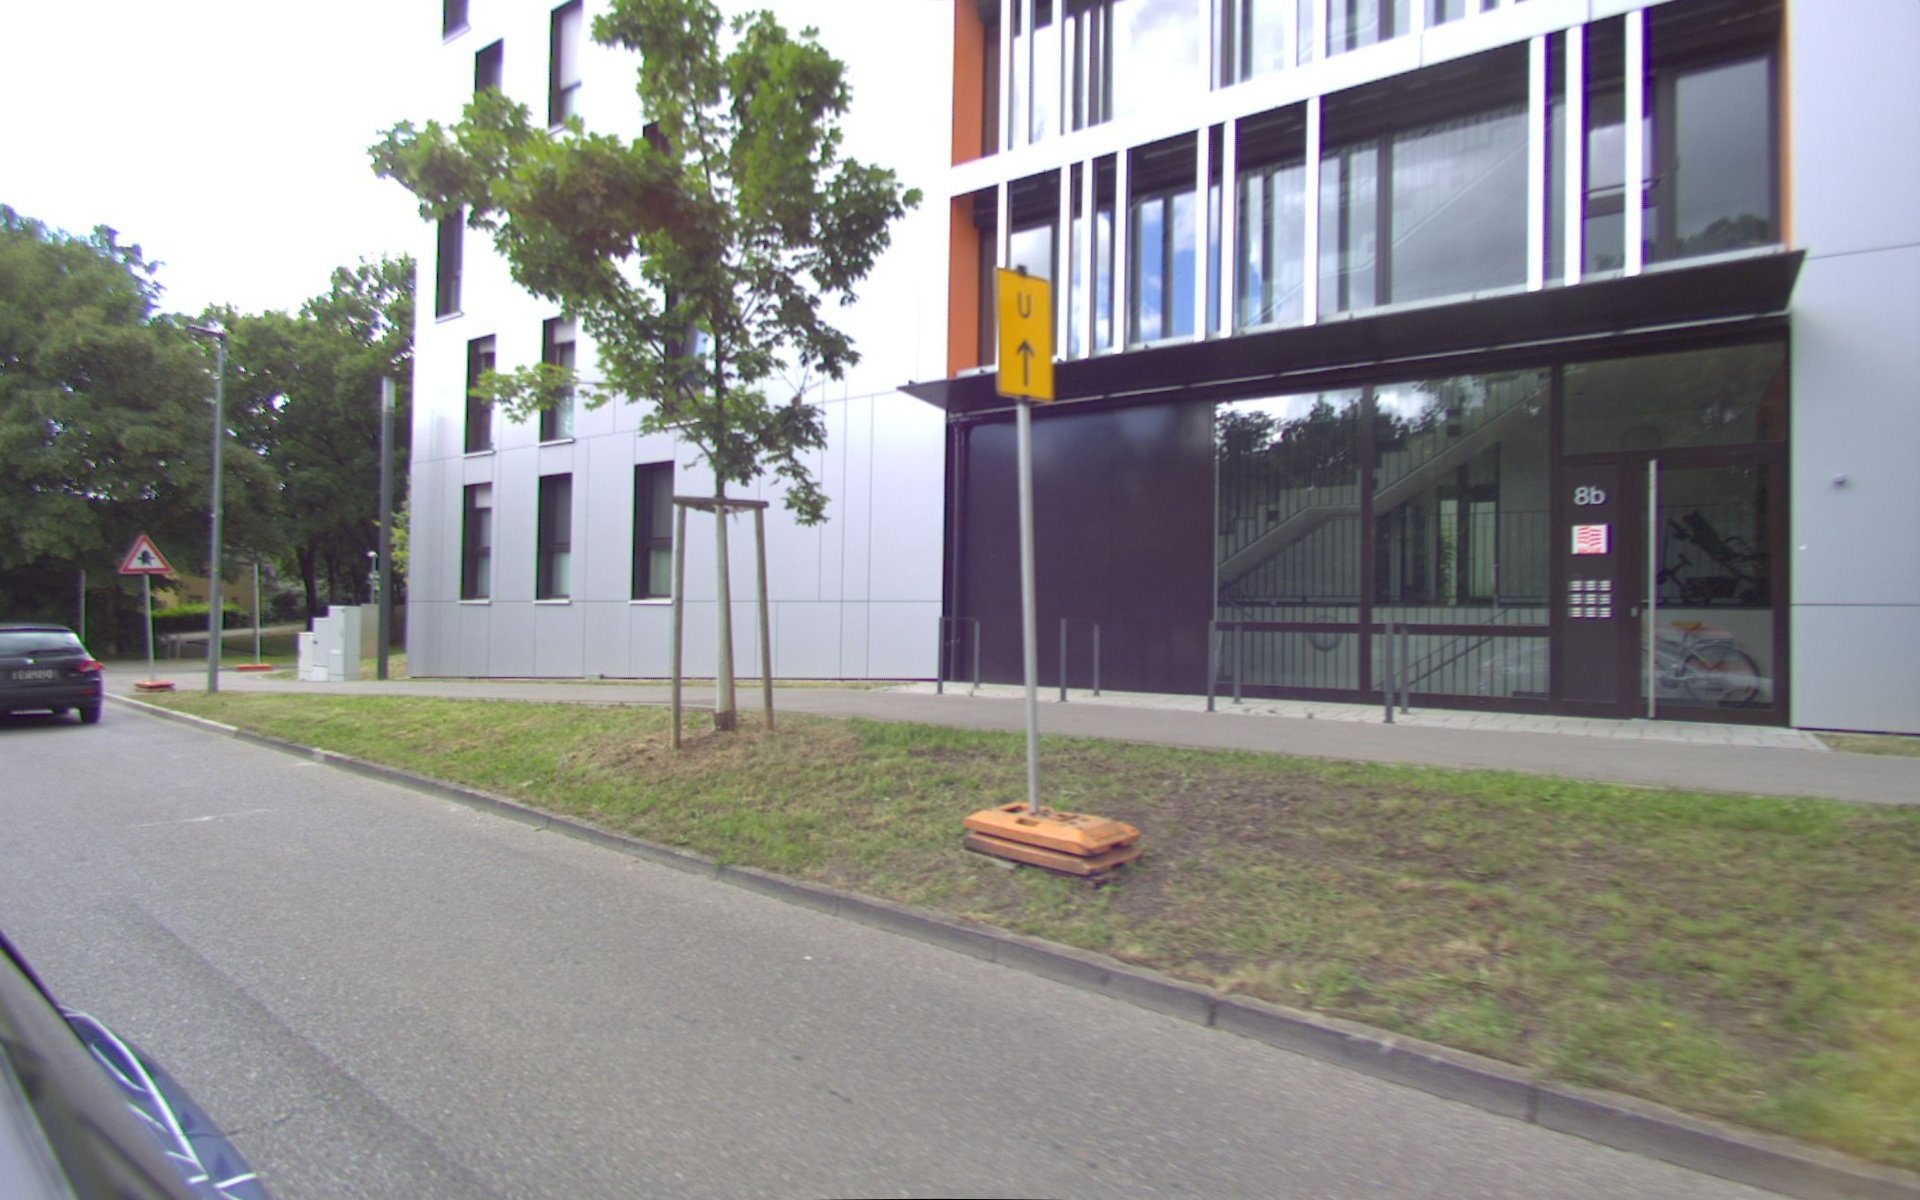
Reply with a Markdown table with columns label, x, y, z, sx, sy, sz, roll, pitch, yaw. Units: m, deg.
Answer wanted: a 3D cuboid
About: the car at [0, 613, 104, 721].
| label | x | y | z | sx | sy | sz | roll | pitch | yaw |
| --- | --- | --- | --- | --- | --- | --- | --- | --- | --- |
| car | -13.859 | 0.902 | 14.689 | 3.998 | 1.398 | 1.592 | -1 | -1 | 41 |
